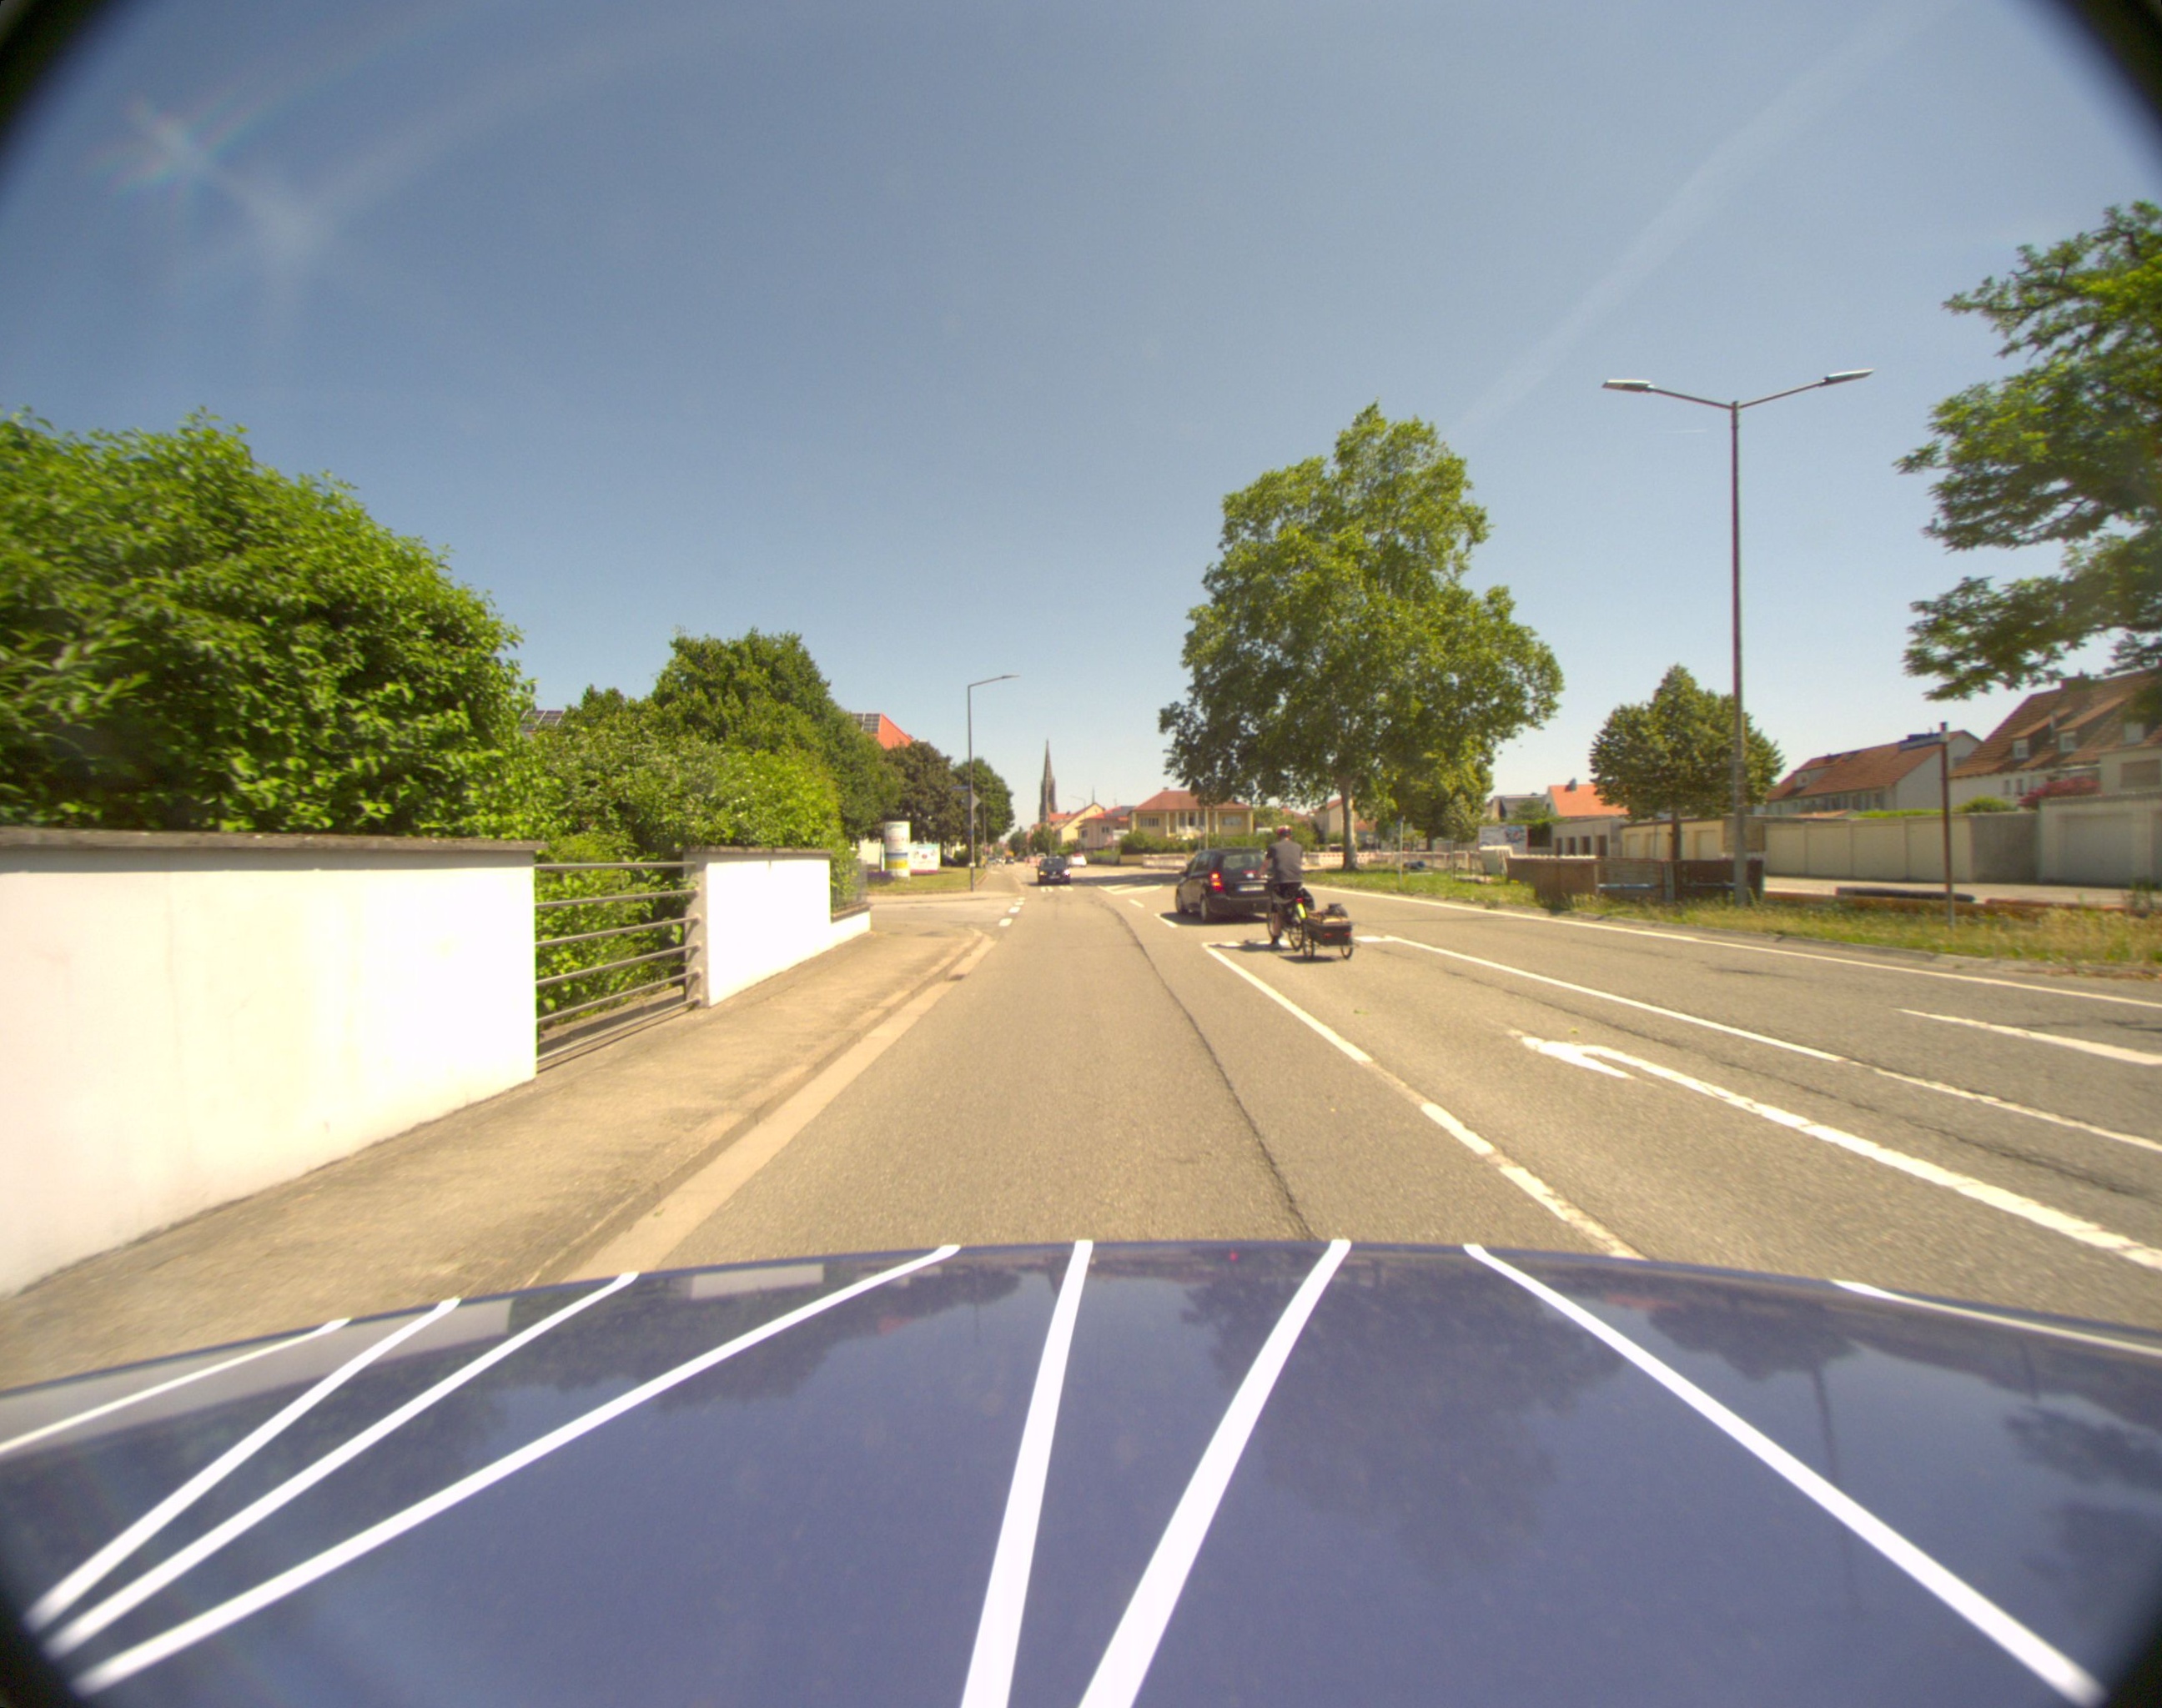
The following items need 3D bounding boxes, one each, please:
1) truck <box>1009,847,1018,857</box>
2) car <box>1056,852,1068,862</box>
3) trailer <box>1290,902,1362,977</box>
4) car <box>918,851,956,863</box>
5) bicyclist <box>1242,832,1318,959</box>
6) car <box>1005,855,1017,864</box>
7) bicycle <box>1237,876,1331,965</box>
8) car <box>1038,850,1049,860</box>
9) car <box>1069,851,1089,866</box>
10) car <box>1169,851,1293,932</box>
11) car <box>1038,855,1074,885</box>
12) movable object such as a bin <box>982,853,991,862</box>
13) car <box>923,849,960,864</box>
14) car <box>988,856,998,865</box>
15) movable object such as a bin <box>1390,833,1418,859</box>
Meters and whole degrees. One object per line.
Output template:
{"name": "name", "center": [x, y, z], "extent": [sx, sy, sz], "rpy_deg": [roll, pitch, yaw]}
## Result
{"name": "truck", "center": [-20.295, -0.546, 229.166], "extent": [2.224, 2.921, 5.346], "rpy_deg": [-1, 0, -9]}
{"name": "car", "center": [-2.953, 0.458, 118.532], "extent": [1.391, 1.568, 3.318], "rpy_deg": [-1, 0, -9]}
{"name": "trailer", "center": [3.224, 1.112, 10.098], "extent": [0.572, 0.851, 1.132], "rpy_deg": [-1, 0, -1]}
{"name": "car", "center": [-17.089, 0.368, 90.331], "extent": [4.370, 1.427, 1.998], "rpy_deg": [1, 0, -10]}
{"name": "bicyclist", "center": [3.045, 0.613, 11.694], "extent": [0.848, 1.855, 0.976], "rpy_deg": [-2, 1, -1]}
{"name": "car", "center": [-12.420, 0.997, 134.379], "extent": [1.713, 1.449, 3.560], "rpy_deg": [-1, 0, -11]}
{"name": "bicycle", "center": [3.052, 0.962, 11.652], "extent": [0.852, 1.159, 1.977], "rpy_deg": [-2, 1, -1]}
{"name": "car", "center": [-6.917, 0.133, 139.491], "extent": [1.720, 1.776, 3.886], "rpy_deg": [-1, 0, -9]}
{"name": "car", "center": [-0.208, 0.495, 81.380], "extent": [1.704, 1.501, 3.456], "rpy_deg": [-3, 1, -7]}
{"name": "car", "center": [3.214, 0.743, 17.044], "extent": [1.730, 1.523, 3.828], "rpy_deg": [-3, 1, -4]}
{"name": "car", "center": [-1.358, 0.805, 39.978], "extent": [1.608, 1.436, 3.907], "rpy_deg": [-2, 0, -5]}
{"name": "movable object such as a bin", "center": [-15.692, 0.649, 125.860], "extent": [1.500, 1.472, 1.422], "rpy_deg": [-1, 0, -9]}
{"name": "car", "center": [-17.121, 0.272, 93.180], "extent": [4.370, 1.776, 1.998], "rpy_deg": [1, 0, -10]}
{"name": "car", "center": [-15.538, 1.114, 134.236], "extent": [1.608, 1.403, 3.906], "rpy_deg": [-2, 0, -7]}
{"name": "movable object such as a bin", "center": [35.676, -0.878, 84.043], "extent": [2.274, 2.719, 3.934], "rpy_deg": [0, 0, 13]}
